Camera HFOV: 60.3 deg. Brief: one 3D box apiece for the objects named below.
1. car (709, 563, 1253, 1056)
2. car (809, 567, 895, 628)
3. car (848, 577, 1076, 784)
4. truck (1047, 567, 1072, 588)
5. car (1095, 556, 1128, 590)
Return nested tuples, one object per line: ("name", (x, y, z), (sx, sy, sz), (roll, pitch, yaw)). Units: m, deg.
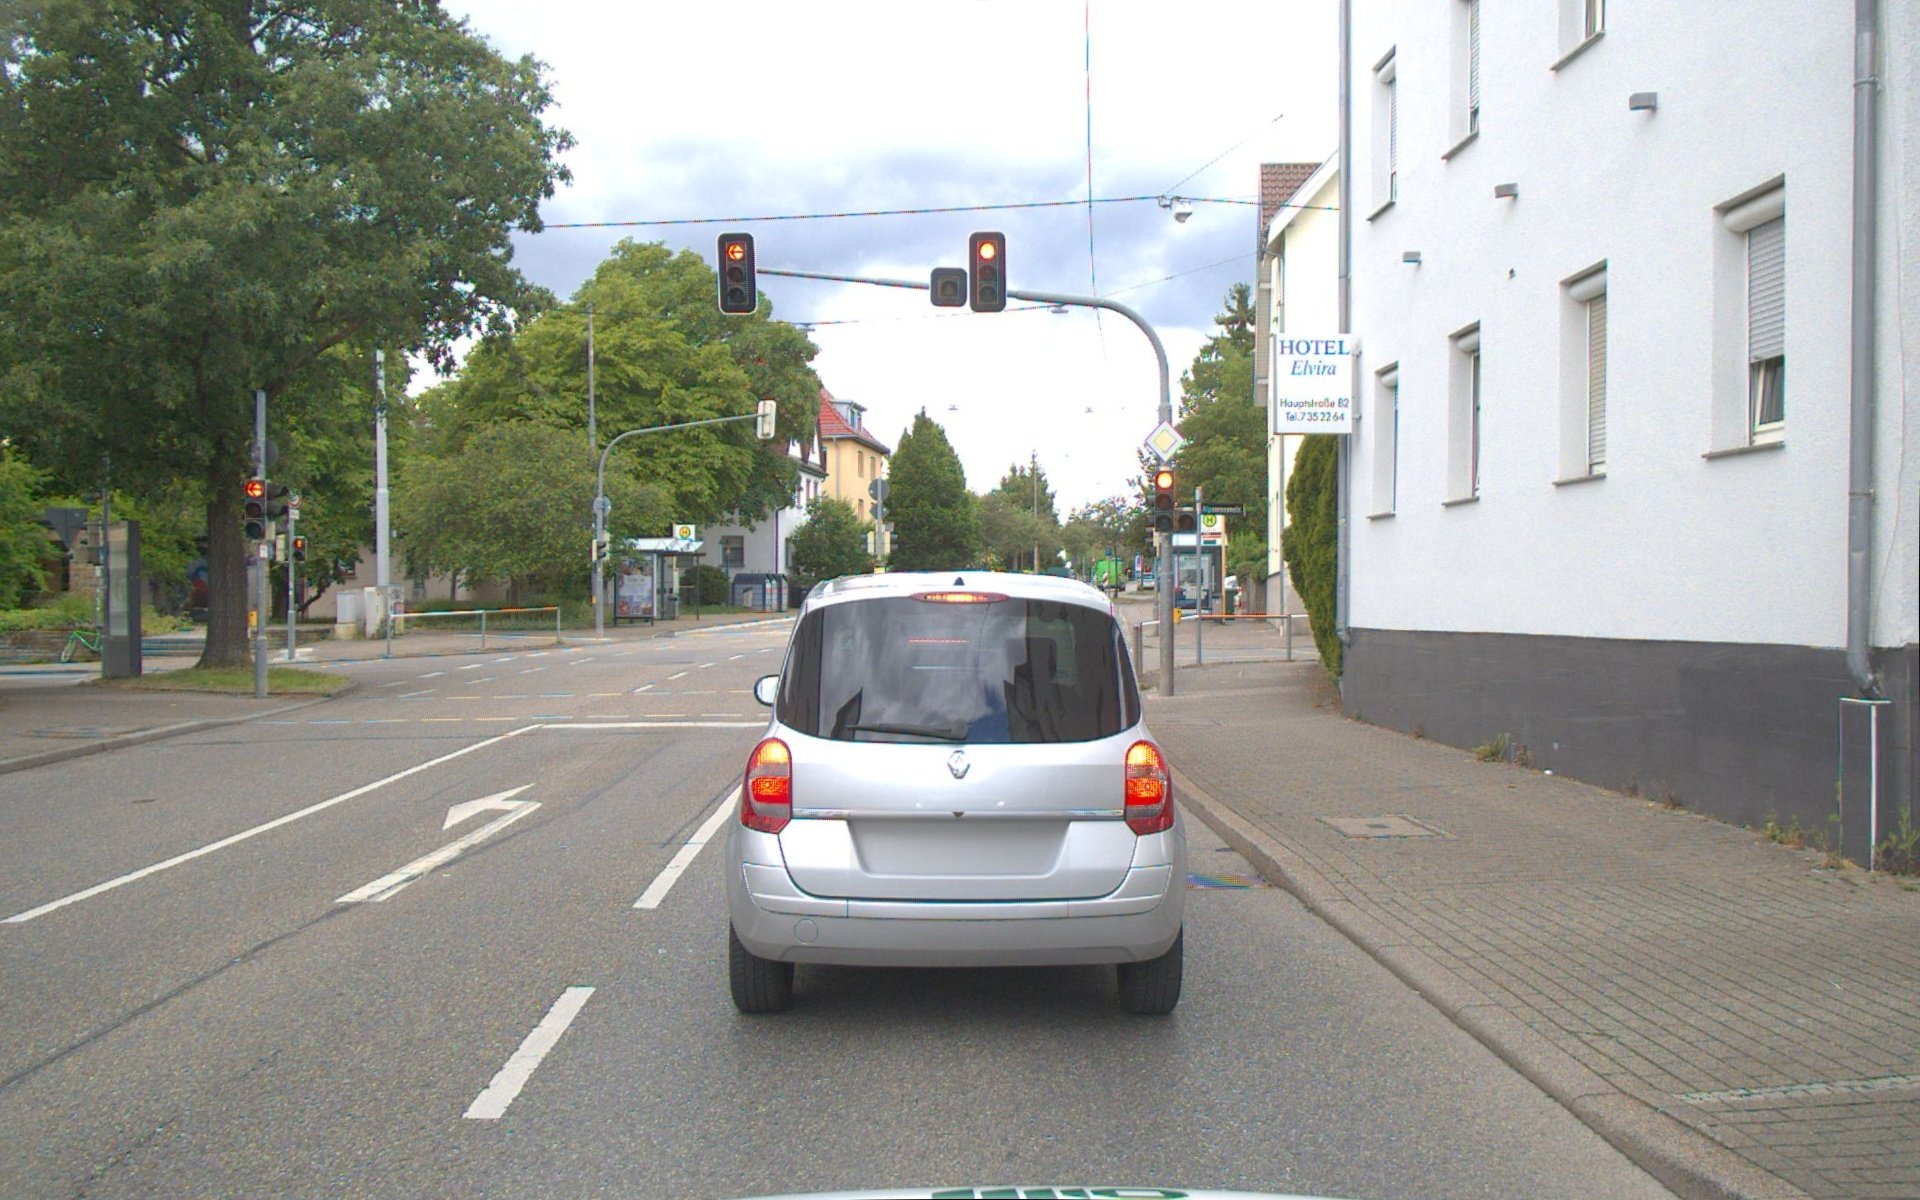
("car", (0.030, 0.665, 7.264), (1.719, 1.557, 3.999), (1, 0, -1))
("car", (-3.545, -0.103, 54.999), (1.885, 1.804, 4.004), (-4, 0, 9))
("car", (-0.020, 0.610, 14.485), (1.719, 1.557, 3.796), (1, 0, -1))
("truck", (10.081, -2.297, 167.553), (2.056, 2.049, 5.752), (1, 0, 9))
("car", (11.937, -2.115, 130.126), (2.015, 2.556, 5.600), (1, 0, 11))
